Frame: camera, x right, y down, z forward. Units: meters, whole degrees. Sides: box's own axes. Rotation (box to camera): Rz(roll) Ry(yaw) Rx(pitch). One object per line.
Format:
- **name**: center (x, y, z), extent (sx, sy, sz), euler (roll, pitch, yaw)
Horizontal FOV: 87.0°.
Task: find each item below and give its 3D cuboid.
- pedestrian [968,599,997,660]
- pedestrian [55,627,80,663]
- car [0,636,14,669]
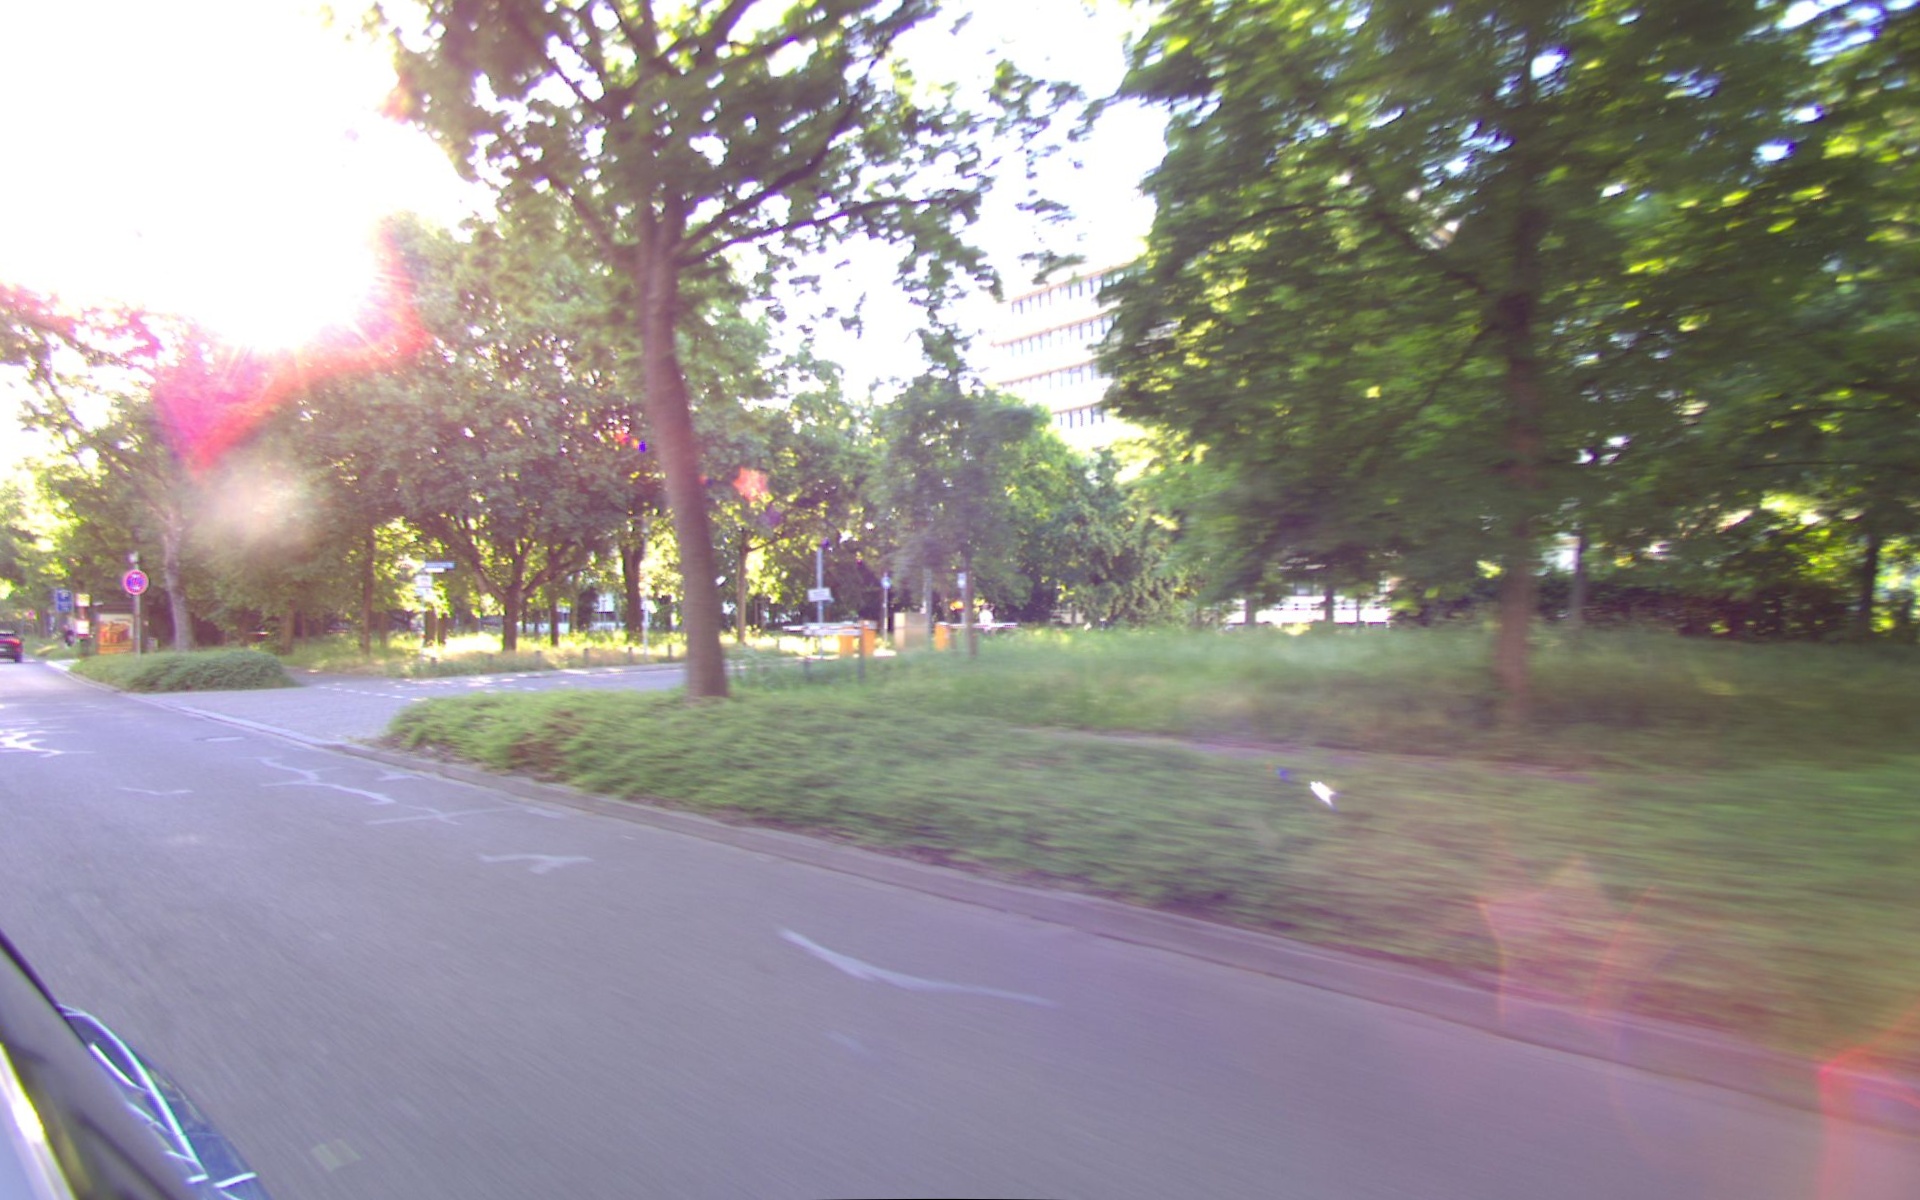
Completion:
- **pedestrian**: center (0.756, 0.980, 33.893), extent (0.590, 2.029, 0.748), euler (-2, -1, 43)
- **pedestrian**: center (-45.848, 2.317, 51.967), extent (0.720, 1.835, 0.893), euler (-2, -2, 43)
- **car**: center (-47.650, 2.546, 49.567), extent (1.822, 1.591, 4.339), euler (3, -4, -43)
